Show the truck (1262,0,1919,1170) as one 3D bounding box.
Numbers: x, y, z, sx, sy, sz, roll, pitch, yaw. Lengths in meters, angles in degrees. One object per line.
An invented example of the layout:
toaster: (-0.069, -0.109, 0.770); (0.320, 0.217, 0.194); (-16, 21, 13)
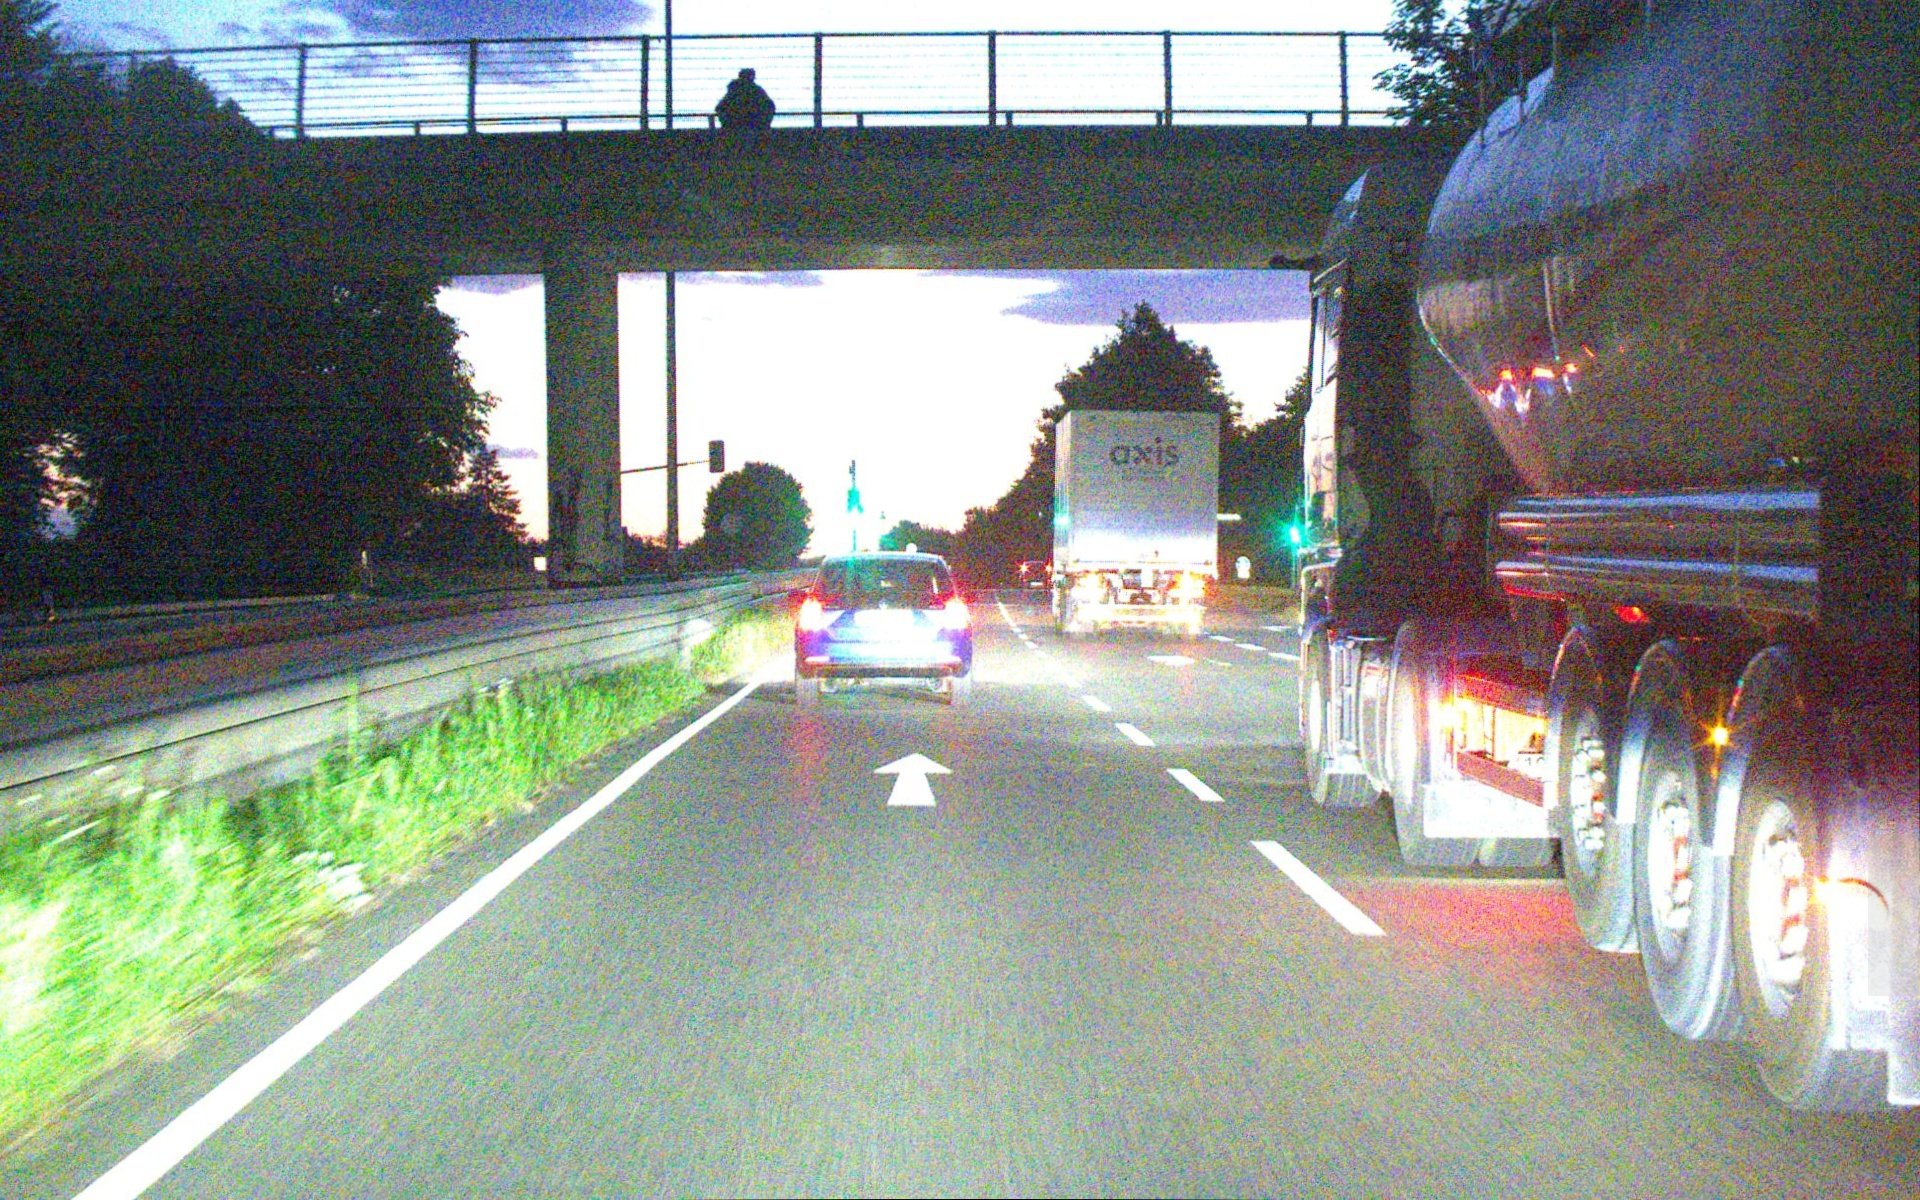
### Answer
truck: (3.340, -0.760, 14.771); (2.687, 4.092, 13.142); (0, 1, -1)

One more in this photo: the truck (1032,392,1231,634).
truck: (3.056, -1.565, 64.804); (2.883, 4.092, 12.684); (0, 1, -1)

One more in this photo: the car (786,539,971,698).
car: (-0.784, 0.148, 33.670); (1.695, 1.447, 3.914); (0, 1, -1)

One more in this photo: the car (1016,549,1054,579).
car: (3.650, -1.772, 168.439); (1.695, 1.447, 3.914); (0, 1, -1)
